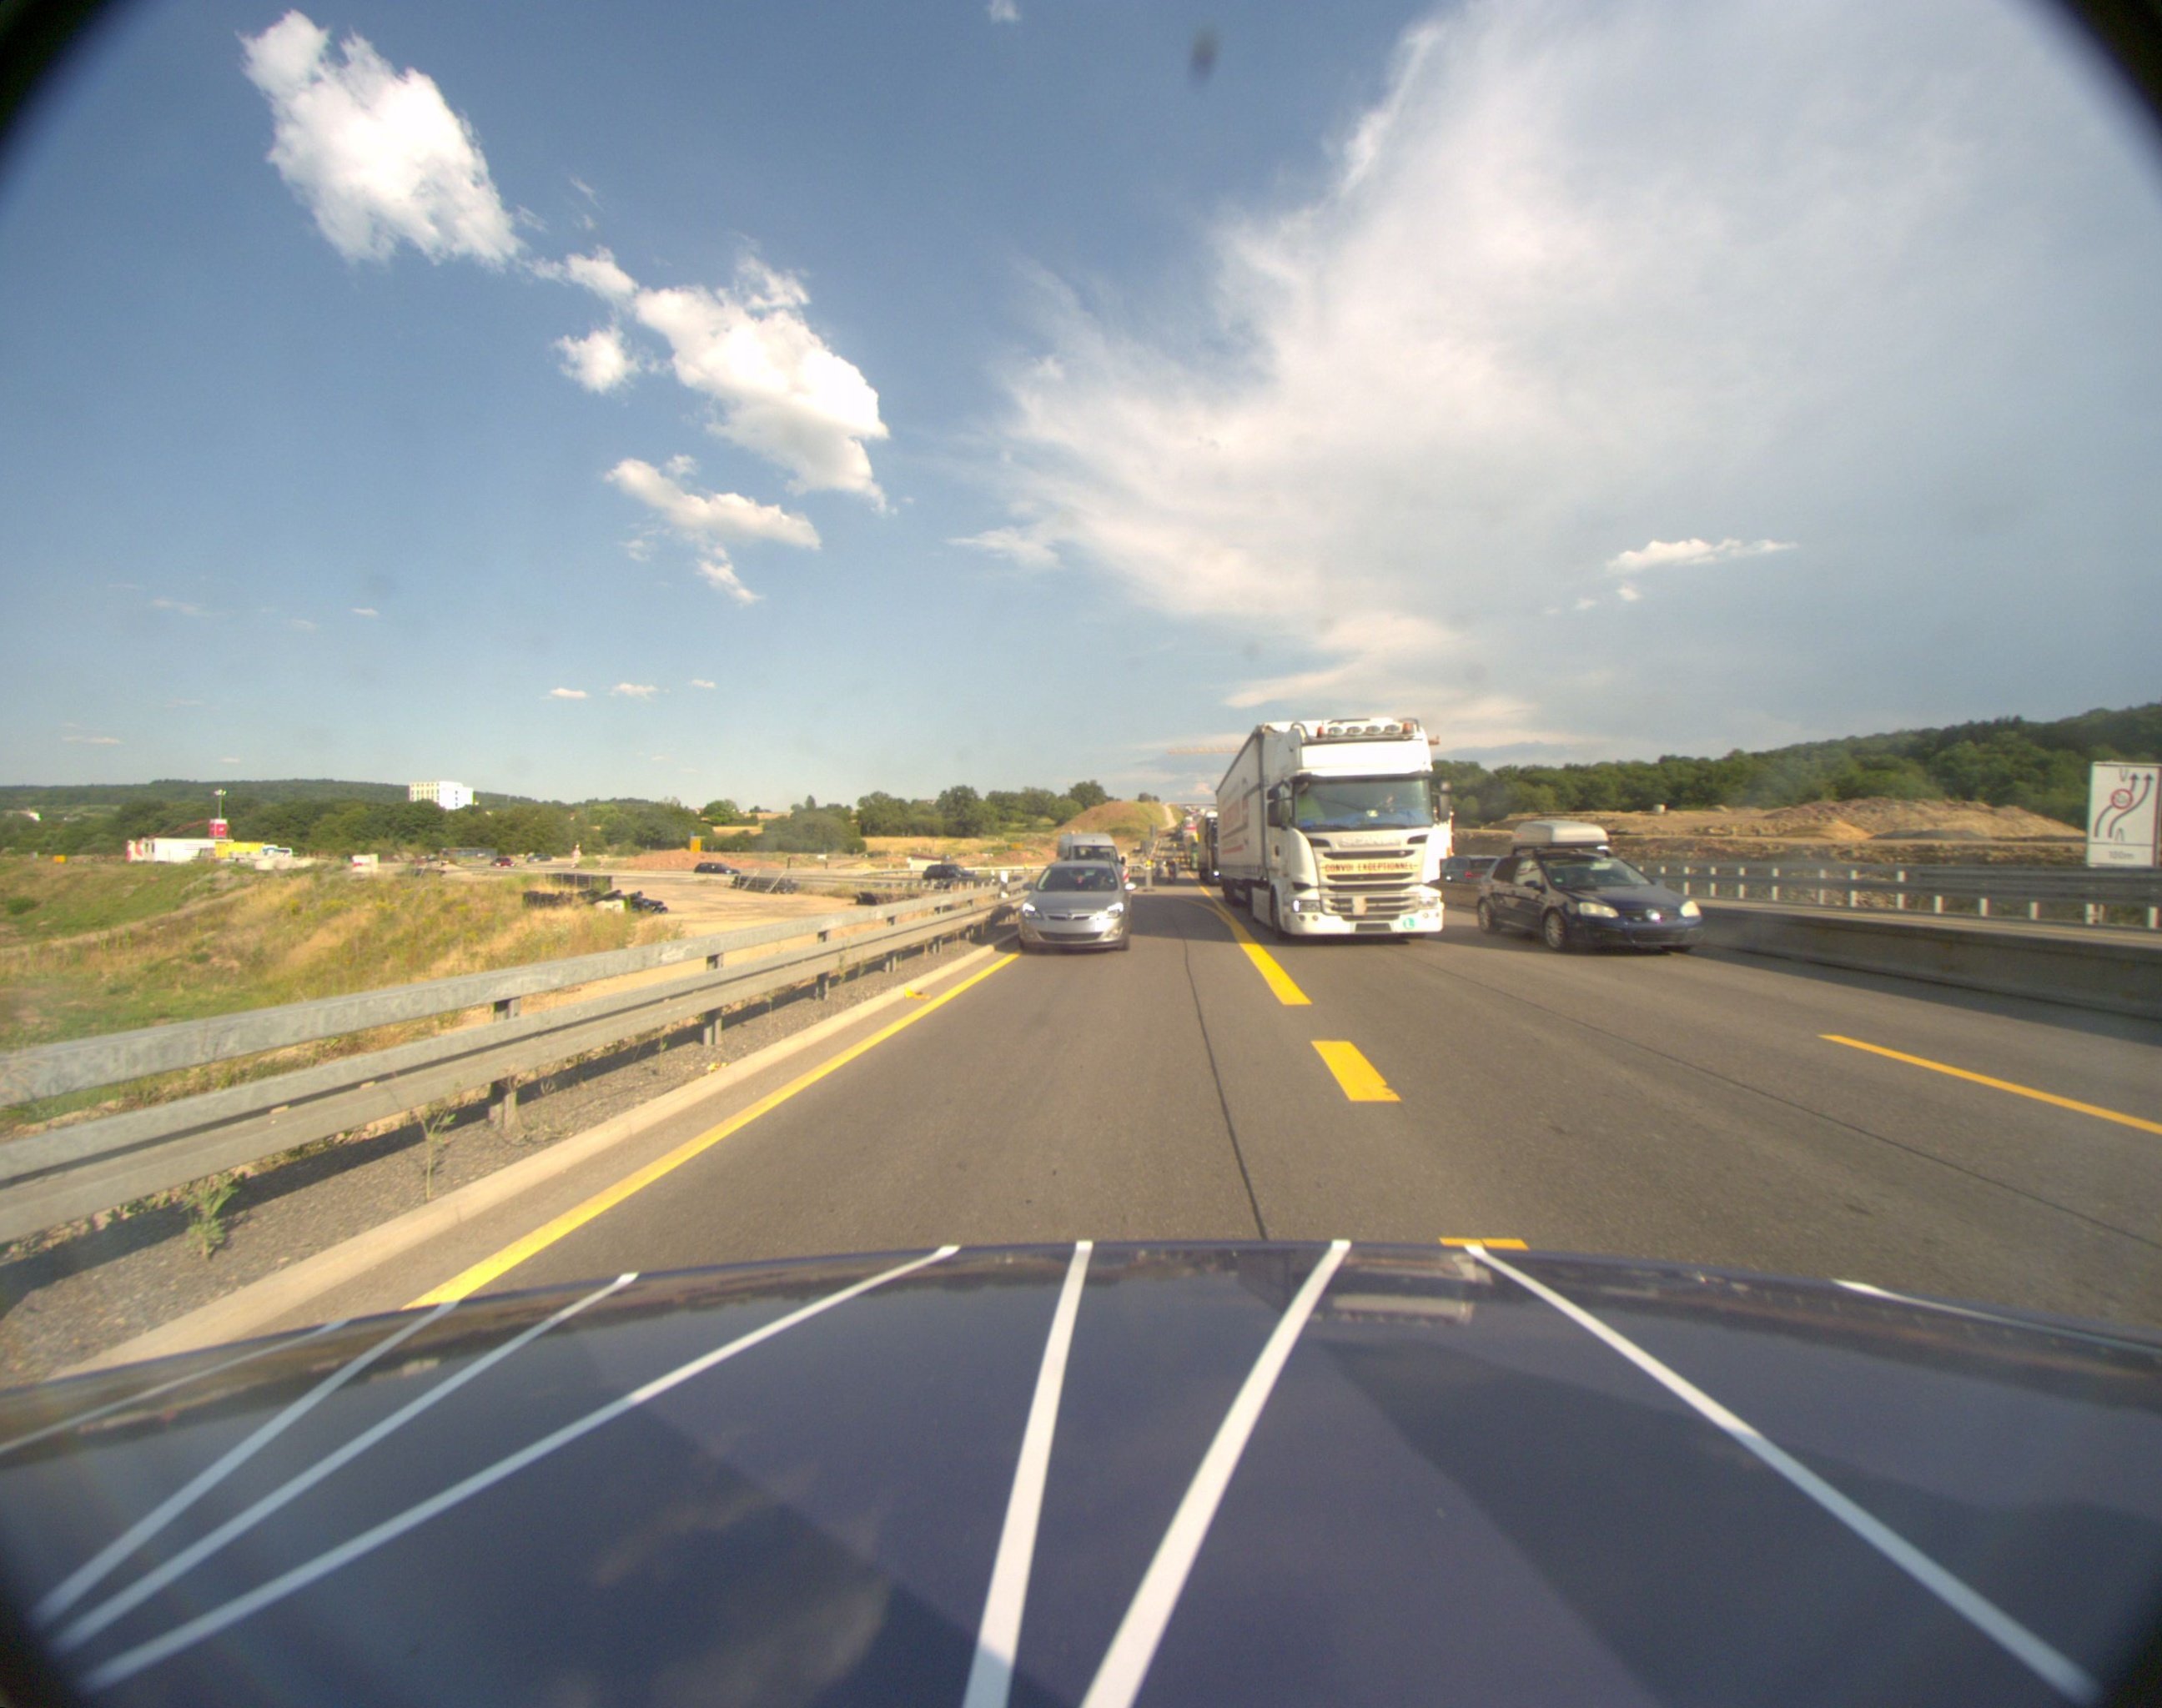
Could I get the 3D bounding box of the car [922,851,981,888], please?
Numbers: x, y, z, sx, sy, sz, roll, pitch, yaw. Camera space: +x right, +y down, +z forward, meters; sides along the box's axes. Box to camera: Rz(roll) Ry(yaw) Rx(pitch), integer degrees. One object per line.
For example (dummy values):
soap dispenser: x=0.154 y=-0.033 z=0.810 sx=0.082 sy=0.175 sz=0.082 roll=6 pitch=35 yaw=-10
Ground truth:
car: x=-9.028 y=1.060 z=52.871 sx=3.988 sy=2.389 sz=1.881 roll=2 pitch=1 yaw=38

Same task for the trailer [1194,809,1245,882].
trailer: x=8.730 y=-0.554 z=49.210 sx=2.485 sy=4.038 sz=13.637 roll=0 pitch=1 yaw=7

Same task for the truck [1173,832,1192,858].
truck: x=17.476 y=-1.562 z=130.881 sx=3.109 sy=4.289 sz=6.900 roll=1 pitch=1 yaw=8

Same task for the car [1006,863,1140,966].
car: x=0.029 y=0.937 z=13.528 sx=1.746 sy=1.476 sz=4.254 roll=0 pitch=0 yaw=8

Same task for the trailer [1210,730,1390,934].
trailer: x=5.317 y=-0.489 z=21.281 sx=2.485 sy=3.856 sz=13.635 roll=0 pitch=1 yaw=6

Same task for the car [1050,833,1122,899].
car: x=0.095 y=0.429 z=31.597 sx=1.918 sy=2.486 sz=5.791 roll=1 pitch=1 yaw=-10

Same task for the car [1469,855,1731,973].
car: x=7.745 y=0.788 z=11.853 sx=1.824 sy=1.476 sz=3.921 roll=-1 pitch=1 yaw=8

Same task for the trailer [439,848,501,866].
trailer: x=-86.433 y=0.362 z=107.712 sx=3.012 sy=2.400 sz=7.226 roll=0 pitch=1 yaw=-1

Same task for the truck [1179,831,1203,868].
truck: x=11.932 y=-0.515 z=82.656 sx=2.485 sy=3.879 sz=6.014 roll=0 pitch=1 yaw=8

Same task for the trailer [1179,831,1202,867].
trailer: x=12.819 y=-0.623 z=89.289 sx=2.485 sy=3.936 sz=13.983 roll=0 pitch=1 yaw=8

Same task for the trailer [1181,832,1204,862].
trailer: x=17.049 y=-1.108 z=116.225 sx=3.109 sy=4.289 sz=14.259 roll=1 pitch=1 yaw=8

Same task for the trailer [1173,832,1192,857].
trailer: x=18.629 y=-1.659 z=139.058 sx=3.109 sy=4.289 sz=14.259 roll=1 pitch=1 yaw=8

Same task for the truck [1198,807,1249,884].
truck: x=7.931 y=-0.464 z=42.765 sx=2.485 sy=4.037 sz=6.014 roll=0 pitch=1 yaw=8

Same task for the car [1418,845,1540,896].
car: x=12.769 y=0.461 z=24.740 sx=1.997 sy=1.457 sz=4.538 roll=1 pitch=1 yaw=7

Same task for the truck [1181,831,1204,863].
truck: x=15.938 y=-1.032 z=108.419 sx=3.109 sy=4.289 sz=6.900 roll=1 pitch=1 yaw=8

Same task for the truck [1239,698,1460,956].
truck: x=4.655 y=-0.417 z=14.440 sx=2.486 sy=3.856 sz=6.013 roll=0 pitch=1 yaw=5

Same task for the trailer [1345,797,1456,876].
trailer: x=18.889 y=-0.998 z=46.192 sx=2.632 sy=4.043 sz=14.087 roll=1 pitch=1 yaw=8

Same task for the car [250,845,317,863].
car: x=-100.902 y=-0.009 z=96.191 sx=2.481 sy=2.067 sz=5.327 roll=1 pitch=1 yaw=20

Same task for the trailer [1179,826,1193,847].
trailer: x=23.758 y=-3.871 z=171.780 sx=3.109 sy=4.289 sz=14.259 roll=1 pitch=1 yaw=8

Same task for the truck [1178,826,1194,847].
truck: x=22.579 y=-3.771 z=163.306 sx=3.109 sy=4.289 sz=6.900 roll=1 pitch=1 yaw=8

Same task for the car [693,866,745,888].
car: x=-32.189 y=2.023 z=67.555 sx=4.118 sy=1.776 sz=1.639 roll=1 pitch=1 yaw=15
